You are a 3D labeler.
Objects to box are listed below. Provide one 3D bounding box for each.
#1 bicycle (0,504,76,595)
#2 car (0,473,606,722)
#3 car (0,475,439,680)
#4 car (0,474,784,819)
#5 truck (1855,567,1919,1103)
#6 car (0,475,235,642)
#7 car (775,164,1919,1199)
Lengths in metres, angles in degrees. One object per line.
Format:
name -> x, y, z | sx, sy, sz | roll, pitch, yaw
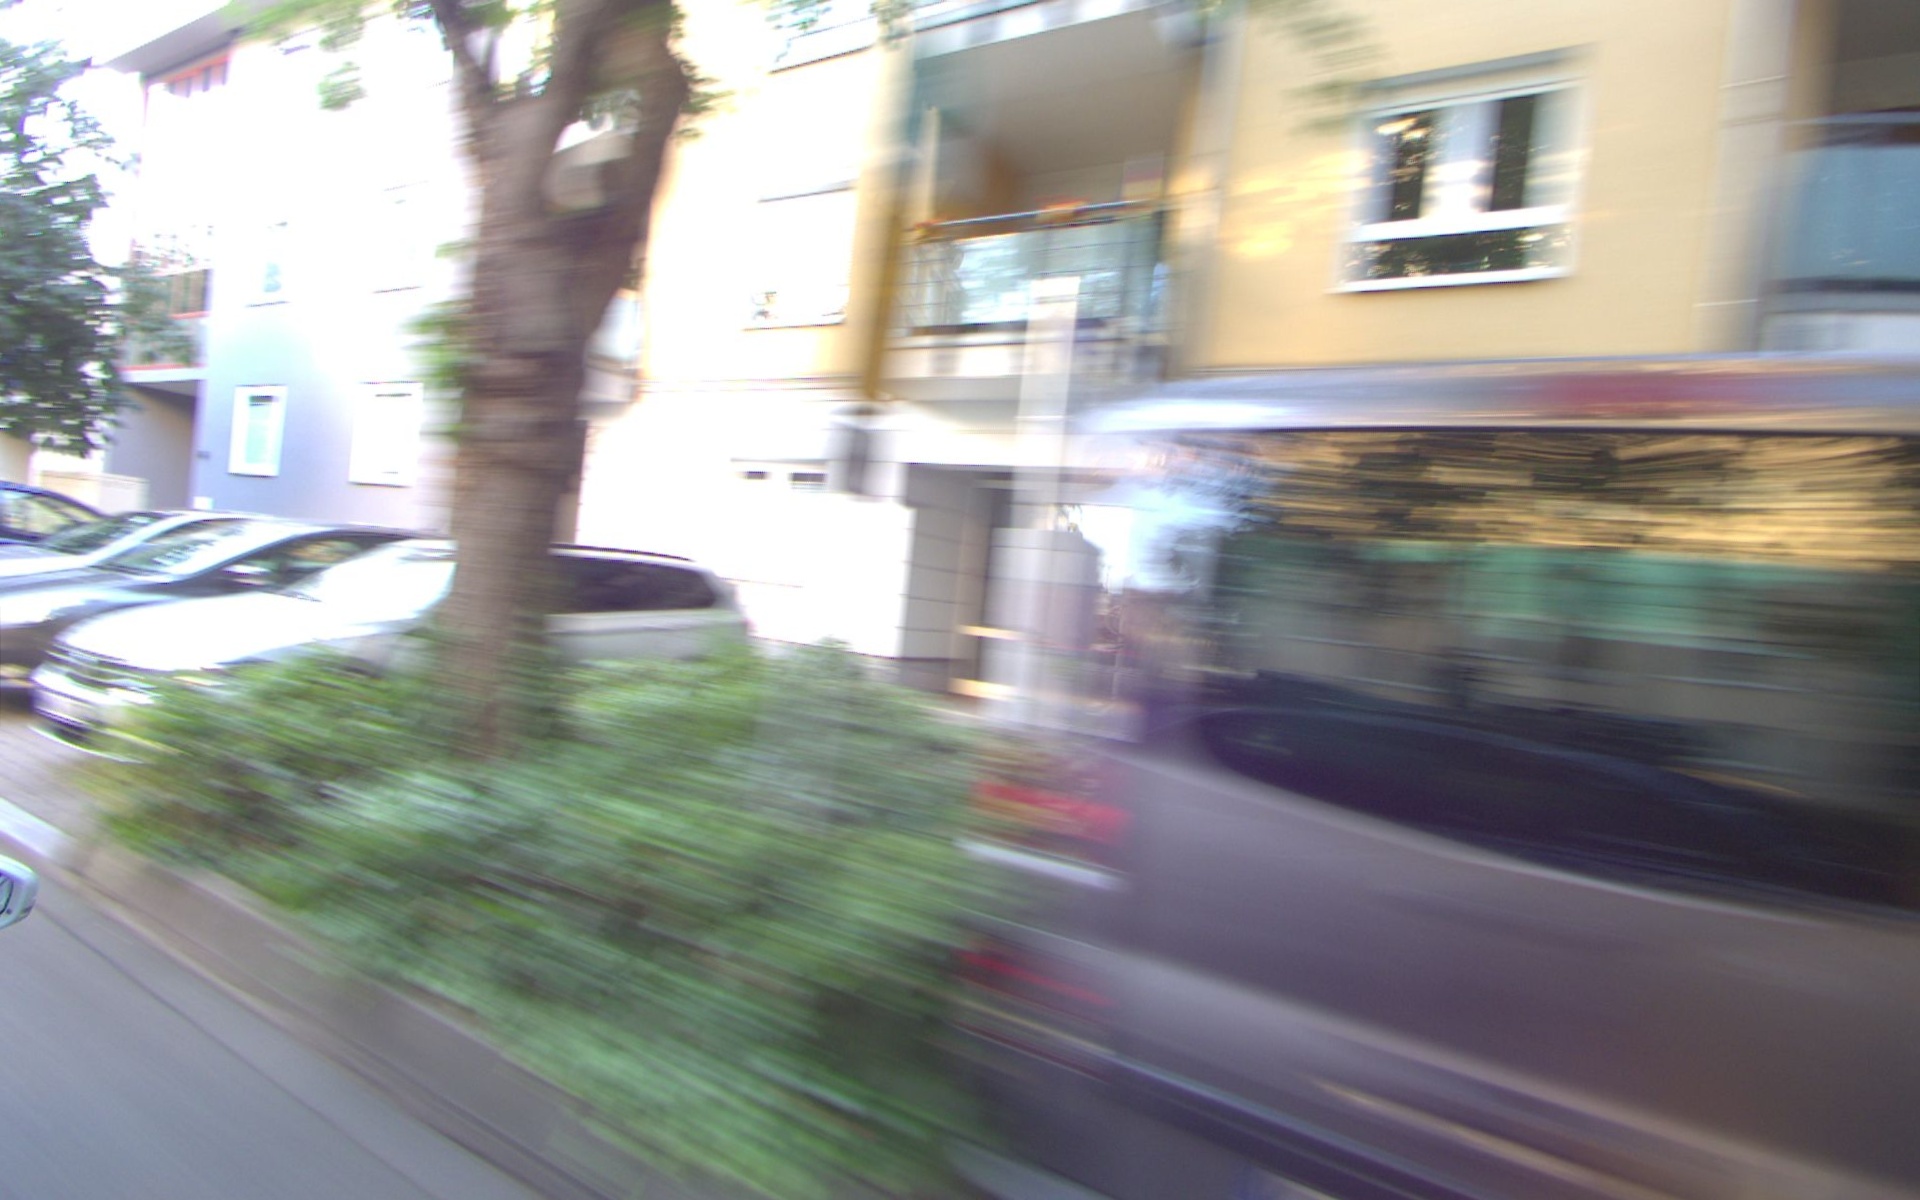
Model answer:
bicycle -> -14.483, -0.810, 15.515 | 1.775, 1.251, 0.828 | 7, 1, 36
car -> -5.663, 0.055, 8.458 | 1.959, 1.539, 4.787 | 7, -1, 33
car -> -7.772, -0.182, 9.499 | 1.977, 1.590, 4.628 | 7, -1, 31
car -> -3.536, 0.263, 7.046 | 1.928, 1.521, 4.627 | 7, 0, 30
truck -> 4.090, 0.906, 2.044 | 2.176, 2.339, 5.894 | 7, 0, 32
car -> -10.140, -0.503, 10.605 | 1.801, 1.583, 3.543 | 6, 0, 31
car -> 1.804, 0.693, 3.207 | 2.160, 2.092, 4.606 | 7, 0, 30
